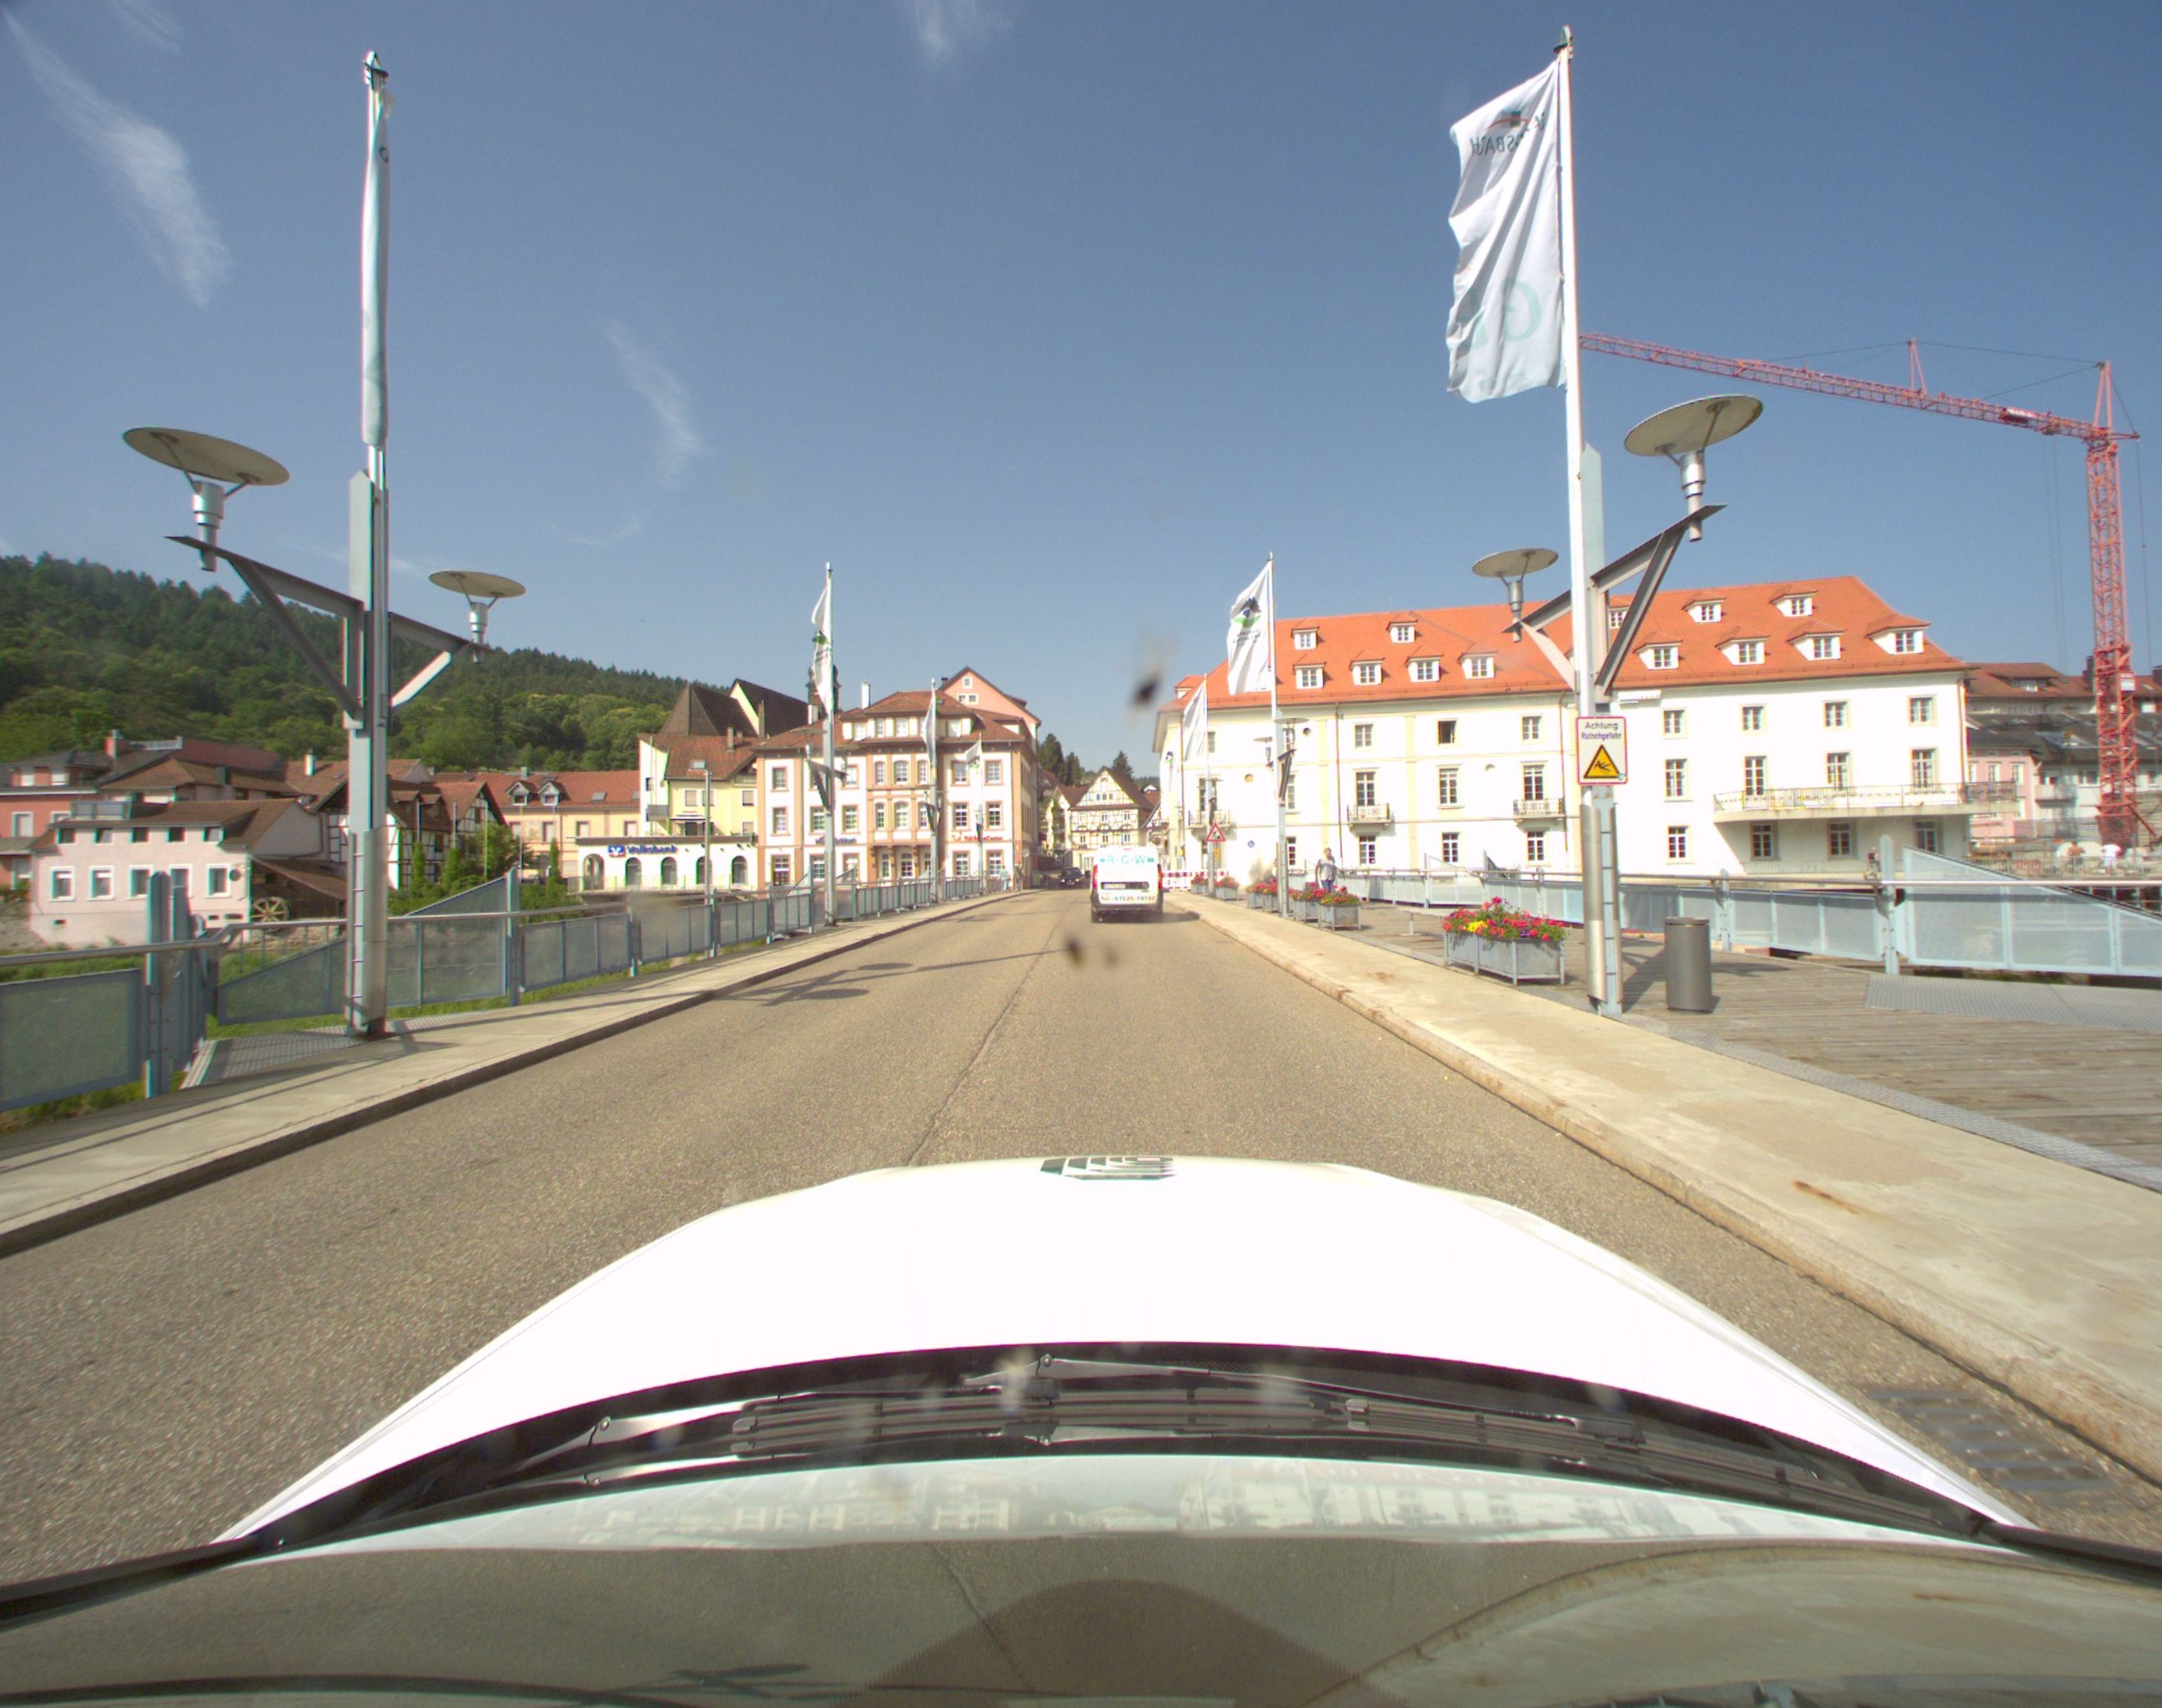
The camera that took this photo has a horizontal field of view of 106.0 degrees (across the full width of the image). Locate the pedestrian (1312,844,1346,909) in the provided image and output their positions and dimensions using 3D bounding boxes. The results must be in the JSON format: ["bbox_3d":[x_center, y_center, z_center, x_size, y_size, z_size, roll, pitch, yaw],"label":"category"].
[{"bbox_3d":[6.262,0.560,20.611,0.663,1.618,0.563,-1,-1,1],"label":"pedestrian"}]

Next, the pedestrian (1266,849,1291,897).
[{"bbox_3d":[7.225,0.684,29.766,0.723,1.723,0.747,-1,-1,1],"label":"pedestrian"}]

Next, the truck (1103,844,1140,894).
[{"bbox_3d":[2.157,0.818,44.312,1.855,2.585,4.260,-1,-1,1],"label":"truck"}]

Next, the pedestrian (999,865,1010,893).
[{"bbox_3d":[-4.423,1.423,47.322,0.582,1.610,0.537,-1,-1,0],"label":"pedestrian"}]

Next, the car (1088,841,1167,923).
[{"bbox_3d":[1.107,0.691,21.277,1.838,1.906,4.314,-1,-1,0],"label":"car"}]

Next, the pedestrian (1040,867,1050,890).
[{"bbox_3d":[-2.964,1.999,66.829,0.802,1.857,0.615,-2,0,-6],"label":"pedestrian"}]

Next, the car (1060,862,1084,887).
[{"bbox_3d":[-0.679,1.567,63.896,1.771,1.792,4.696,-1,0,0],"label":"car"}]

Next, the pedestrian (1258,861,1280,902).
[{"bbox_3d":[5.854,0.866,25.347,0.451,1.244,0.625,-2,-2,-4],"label":"pedestrian"}]

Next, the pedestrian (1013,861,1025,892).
[{"bbox_3d":[-3.586,1.287,47.219,0.612,1.762,0.863,-1,-1,0],"label":"pedestrian"}]
